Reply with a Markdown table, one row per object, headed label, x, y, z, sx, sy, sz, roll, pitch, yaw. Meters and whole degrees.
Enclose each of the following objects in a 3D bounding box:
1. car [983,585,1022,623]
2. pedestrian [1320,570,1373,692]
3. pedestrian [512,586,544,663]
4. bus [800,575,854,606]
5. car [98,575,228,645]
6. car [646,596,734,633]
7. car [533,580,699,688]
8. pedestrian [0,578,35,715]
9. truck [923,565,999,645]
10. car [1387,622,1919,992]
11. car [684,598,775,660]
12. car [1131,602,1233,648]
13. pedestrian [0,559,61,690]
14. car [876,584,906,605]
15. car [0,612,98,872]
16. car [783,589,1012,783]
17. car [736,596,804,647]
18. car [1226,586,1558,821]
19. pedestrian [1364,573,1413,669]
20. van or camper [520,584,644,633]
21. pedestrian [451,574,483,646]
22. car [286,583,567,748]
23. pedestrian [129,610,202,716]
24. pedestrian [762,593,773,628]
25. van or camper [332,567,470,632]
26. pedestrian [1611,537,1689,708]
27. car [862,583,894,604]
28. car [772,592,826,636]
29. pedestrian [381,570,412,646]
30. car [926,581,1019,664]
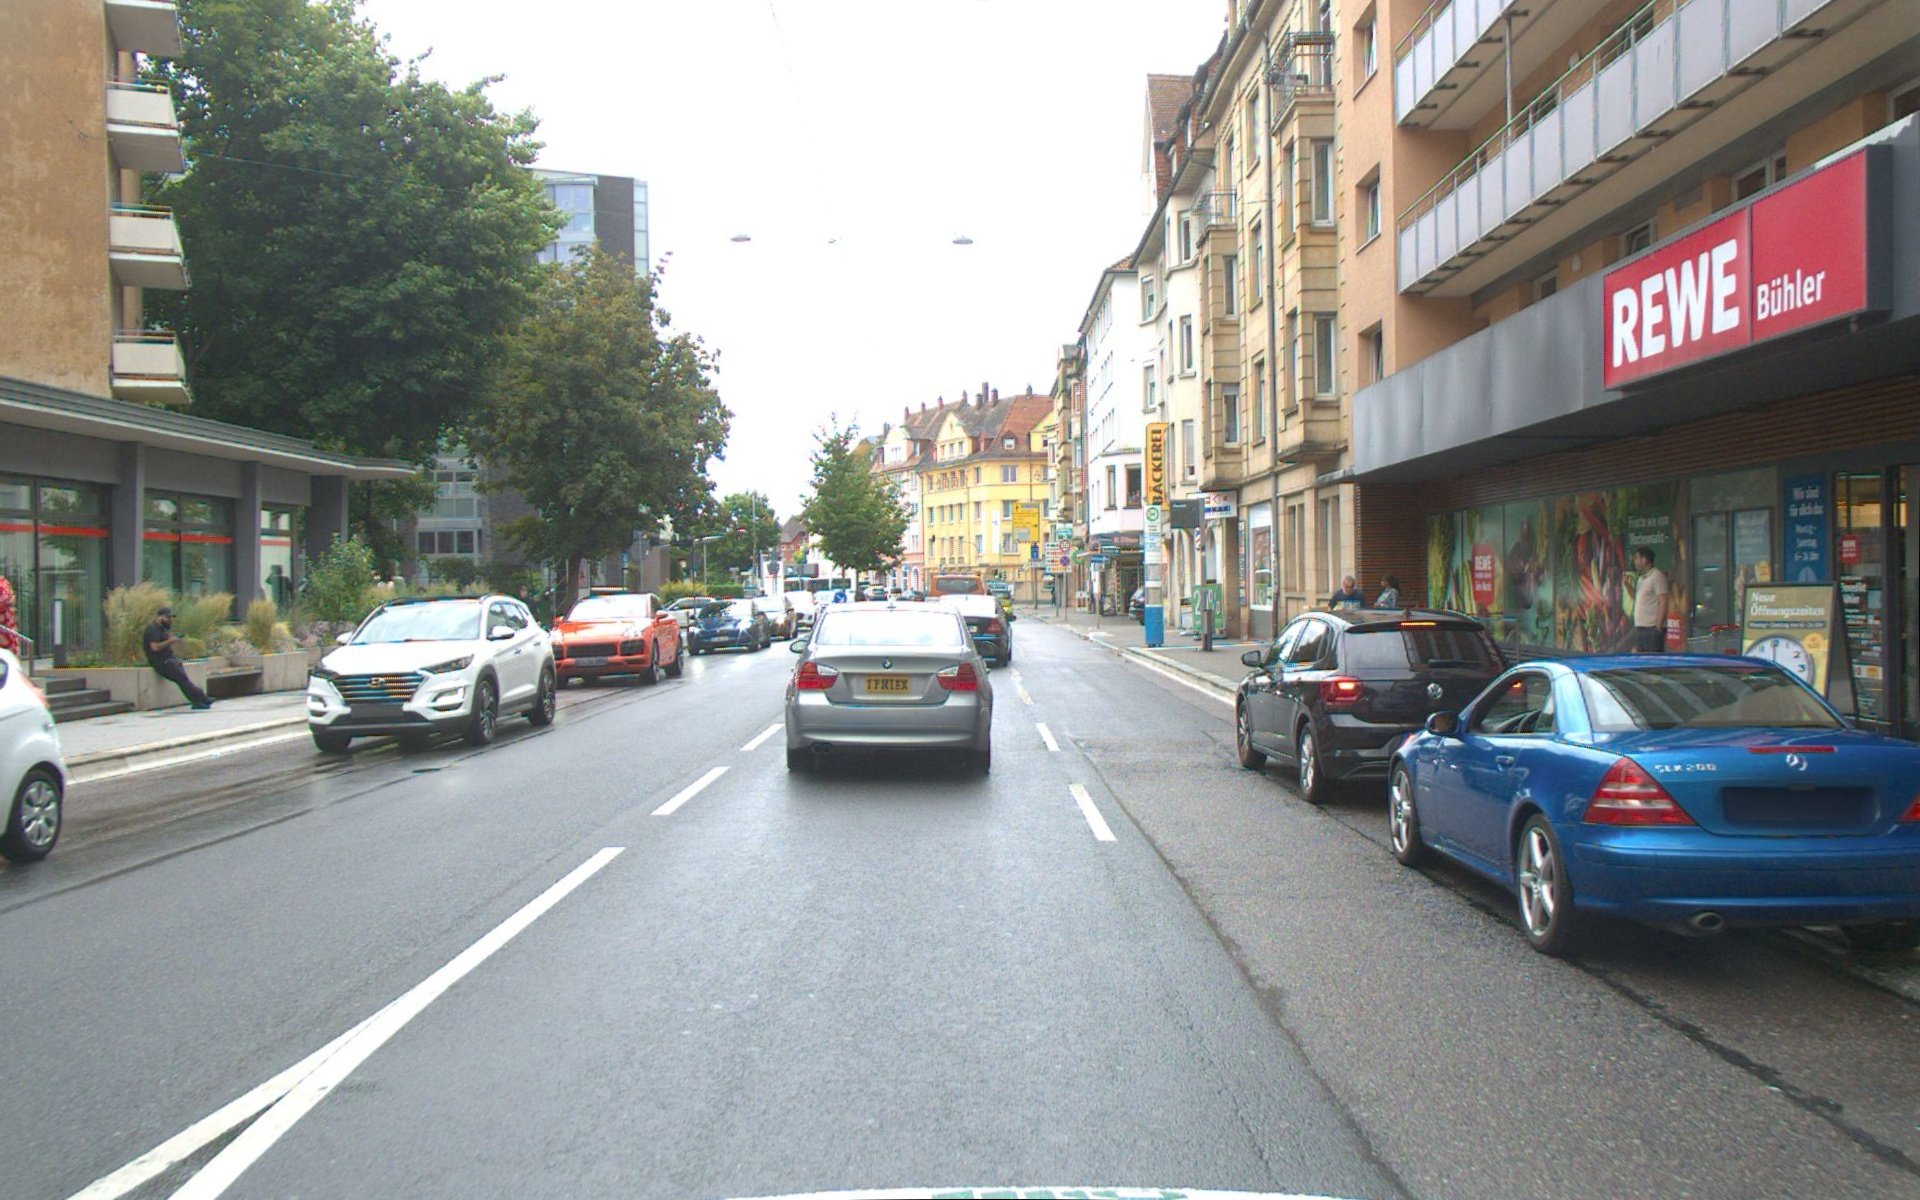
| label | x | y | z | sx | sy | sz | roll | pitch | yaw |
| --- | --- | --- | --- | --- | --- | --- | --- | --- | --- |
| car | 2.312 | 0.216 | 91.142 | 1.953 | 2.049 | 3.999 | -1 | 0 | -1 |
| pedestrian | 5.515 | 0.428 | 23.633 | 0.612 | 1.680 | 0.749 | -1 | 3 | 2 |
| pedestrian | -10.644 | 0.593 | 40.704 | 0.710 | 1.858 | 0.718 | 0 | 1 | -19 |
| bus | -14.016 | -0.988 | 173.653 | 2.870 | 3.159 | 9.078 | -1 | 1 | -23 |
| car | -27.516 | 0.317 | 57.150 | 3.942 | 2.295 | 1.982 | -2 | 1 | -28 |
| car | -12.048 | 0.611 | 73.838 | 3.545 | 1.597 | 1.721 | 0 | 0 | -33 |
| car | -6.417 | 0.619 | 31.466 | 2.063 | 1.795 | 5.059 | -2 | 0 | 0 |
| pedestrian | -12.229 | 0.578 | 20.873 | 0.699 | 1.708 | 0.713 | 0 | 0 | -1 |
| truck | 0.005 | 0.138 | 49.726 | 2.179 | 2.289 | 5.062 | 0 | 0 | -1 |
| car | 3.451 | 0.821 | 8.253 | 1.699 | 1.333 | 3.767 | 0 | 0 | 1 |
| car | -6.558 | 0.790 | 47.547 | 1.915 | 1.538 | 4.911 | -3 | 1 | -1 |
| car | 8.965 | 0.989 | 66.870 | 4.050 | 1.803 | 1.875 | 0 | 0 | 8 |
| pedestrian | -12.601 | 0.316 | 22.071 | 0.697 | 1.708 | 0.799 | 0 | 0 | 28 |
| car | -7.284 | -0.588 | 174.114 | 1.740 | 2.218 | 3.968 | 2 | 0 | -25 |
| car | -6.392 | 0.872 | 8.817 | 1.582 | 1.489 | 3.806 | -1 | 1 | 0 |
| car | -0.526 | 0.678 | 14.994 | 1.763 | 1.490 | 4.369 | 0 | 0 | -1 |
| car | -6.471 | 0.703 | 56.682 | 1.915 | 1.584 | 4.242 | -1 | 0 | -2 |
| car | 3.430 | 0.730 | 13.892 | 1.695 | 1.574 | 3.982 | 3 | 1 | 0 |
| pedestrian | 7.232 | 0.341 | 27.923 | 0.552 | 1.600 | 0.624 | -1 | 0 | -16 |
| van or camper | -16.247 | 0.353 | 71.139 | 4.898 | 2.049 | 1.980 | 0 | 0 | -30 |
| pedestrian | -12.771 | 0.244 | 42.842 | 0.711 | 1.858 | 0.849 | 0 | 1 | -23 |
| car | -5.980 | 0.689 | 19.091 | 1.856 | 1.601 | 4.124 | -3 | 0 | 0 |
| pedestrian | -11.107 | 0.861 | 23.133 | 0.580 | 1.445 | 0.723 | -1 | 0 | 34 |
| pedestrian | -9.976 | 0.541 | 85.691 | 0.563 | 1.793 | 0.580 | -1 | 0 | -7 |
| van or camper | -21.014 | -0.011 | 62.198 | 4.553 | 2.306 | 2.190 | 1 | 0 | -30 |
| pedestrian | 7.776 | 0.253 | 18.665 | 0.583 | 1.891 | 0.727 | 0 | -1 | 3 |
| car | -7.990 | -0.640 | 160.361 | 1.965 | 2.049 | 3.975 | -1 | 0 | -21 |
| car | -6.447 | 0.530 | 66.689 | 1.783 | 1.596 | 4.088 | -3 | 1 | -1 |
| pedestrian | -13.608 | 0.187 | 39.929 | 0.646 | 1.789 | 0.716 | -1 | 0 | -23 |
| car | 0.201 | 0.445 | 33.663 | 1.763 | 1.590 | 3.999 | 0 | 0 | -1 |
